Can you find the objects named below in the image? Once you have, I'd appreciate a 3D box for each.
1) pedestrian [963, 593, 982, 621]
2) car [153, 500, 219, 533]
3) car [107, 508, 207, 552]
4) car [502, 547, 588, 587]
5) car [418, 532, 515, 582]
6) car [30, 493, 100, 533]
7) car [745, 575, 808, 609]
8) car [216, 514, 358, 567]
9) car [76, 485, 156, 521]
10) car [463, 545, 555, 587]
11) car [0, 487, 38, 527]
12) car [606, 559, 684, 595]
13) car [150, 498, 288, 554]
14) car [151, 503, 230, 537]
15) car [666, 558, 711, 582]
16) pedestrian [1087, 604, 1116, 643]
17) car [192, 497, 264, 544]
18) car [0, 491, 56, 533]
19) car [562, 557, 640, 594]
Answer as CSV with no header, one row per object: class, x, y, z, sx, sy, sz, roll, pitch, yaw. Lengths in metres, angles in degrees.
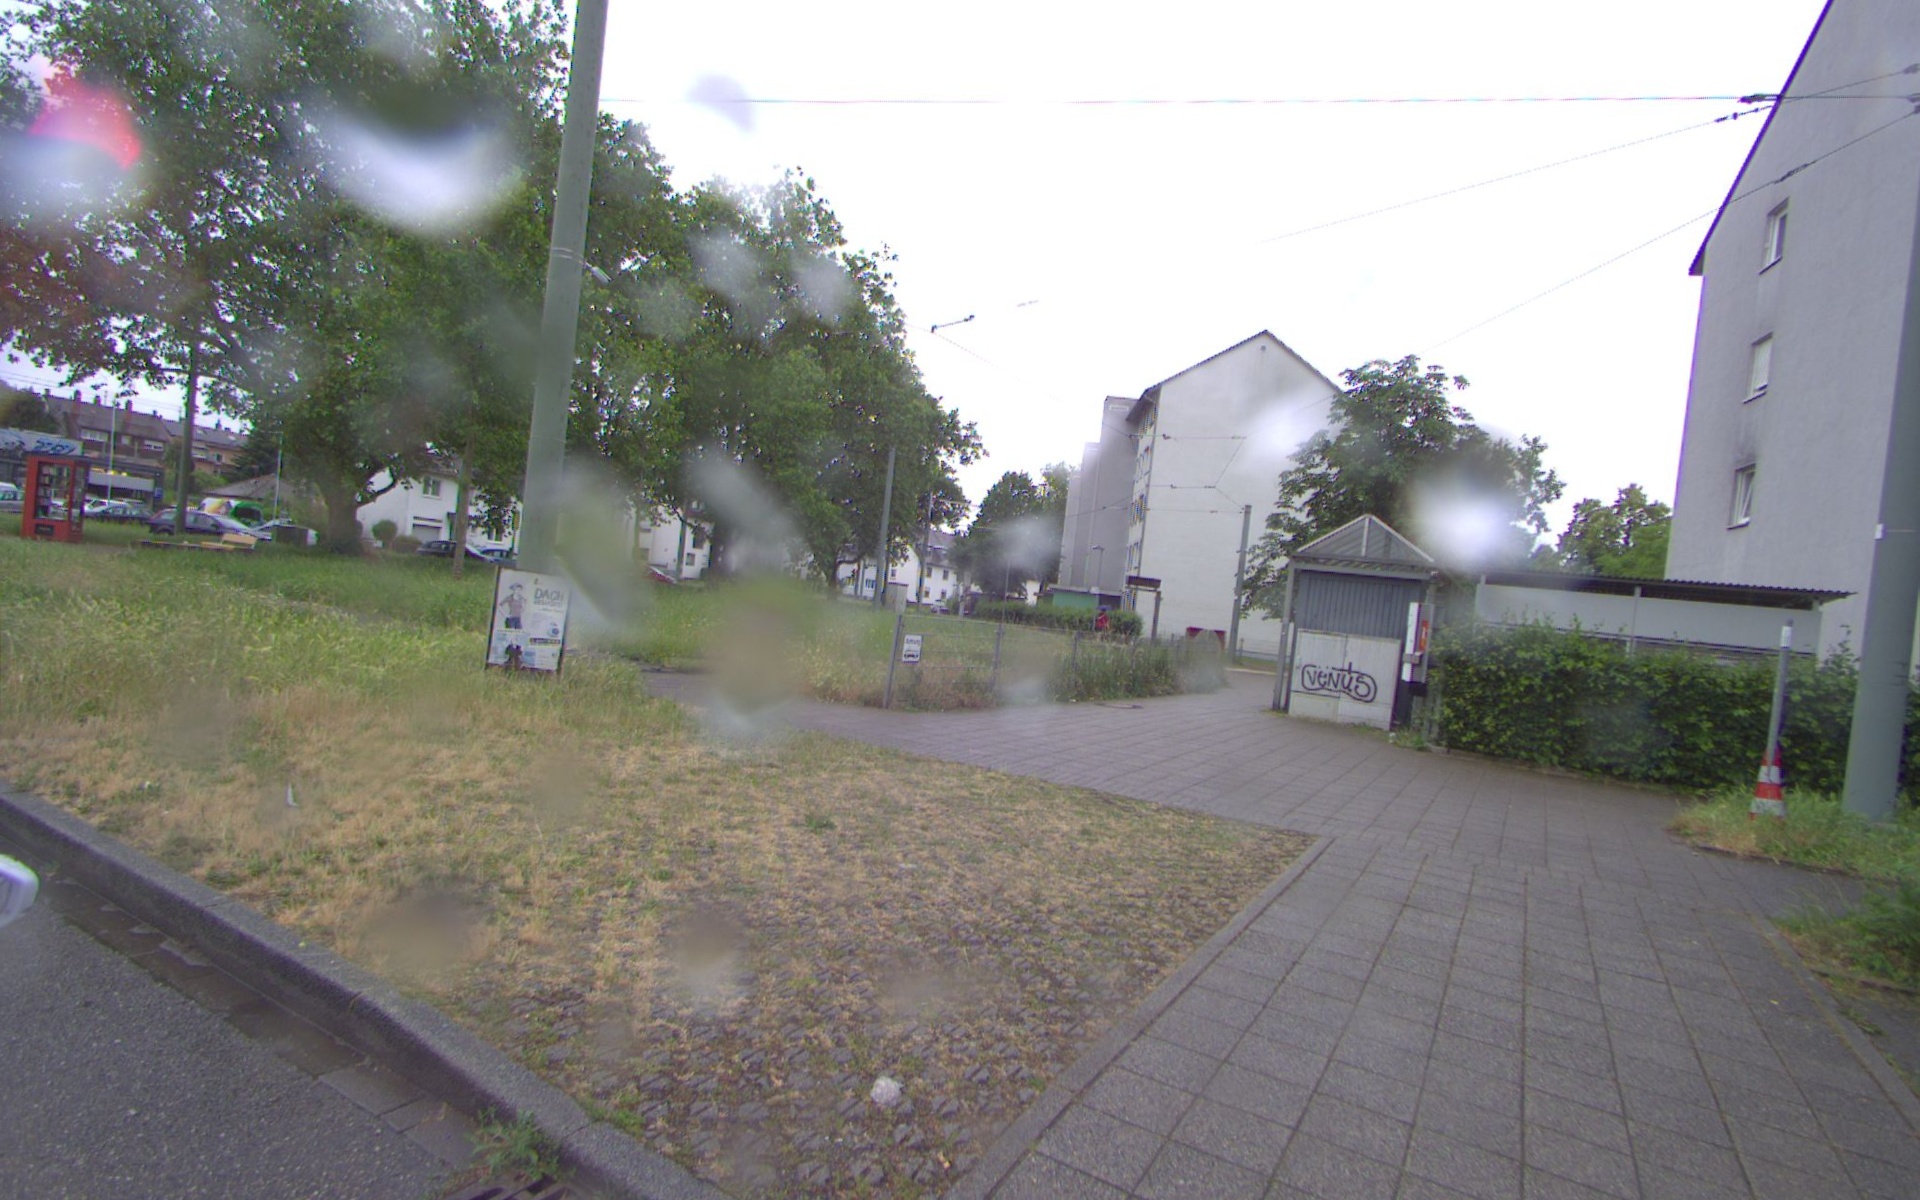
pedestrian,0.876,0.491,70.889,1.022,1.811,0.818,7,-1,-3
car,-62.132,-6.704,80.758,3.924,2.037,2.002,7,-2,14
car,-43.435,-3.777,54.500,1.859,1.720,3.692,6,-2,32
car,-21.986,-1.724,53.492,3.855,1.513,1.806,8,-2,-15
car,-23.737,-2.037,48.523,3.710,1.819,1.806,8,-2,-15
car,-50.146,-4.869,56.377,3.938,1.811,1.995,6,-2,36
car,-12.752,-0.549,70.097,3.843,1.785,1.812,7,-2,0
car,-25.167,-2.199,37.703,1.819,1.300,3.987,6,-3,39
car,-61.698,-7.078,73.606,1.968,1.811,3.992,6,-2,34
car,-22.813,-1.722,51.057,3.855,1.513,1.806,8,-2,-15
car,-54.732,-5.450,56.341,1.966,1.973,3.997,6,-2,30
car,-18.637,-1.332,59.583,3.842,1.513,1.812,7,-2,3
car,-29.199,-2.888,39.775,3.855,1.513,1.806,8,-2,-15
car,-55.476,-5.762,72.593,1.816,1.658,3.994,6,-2,32
car,-25.725,-2.808,95.516,1.859,1.679,3.692,6,-2,32
pedestrian,6.611,1.115,46.915,0.806,1.674,0.889,6,-1,41
car,-46.754,-5.053,64.257,4.280,2.471,1.998,6,-2,31
car,-46.590,-4.423,48.716,1.859,1.720,3.692,6,-2,32
car,-20.119,-1.357,56.526,3.855,1.513,1.806,8,-2,-15
